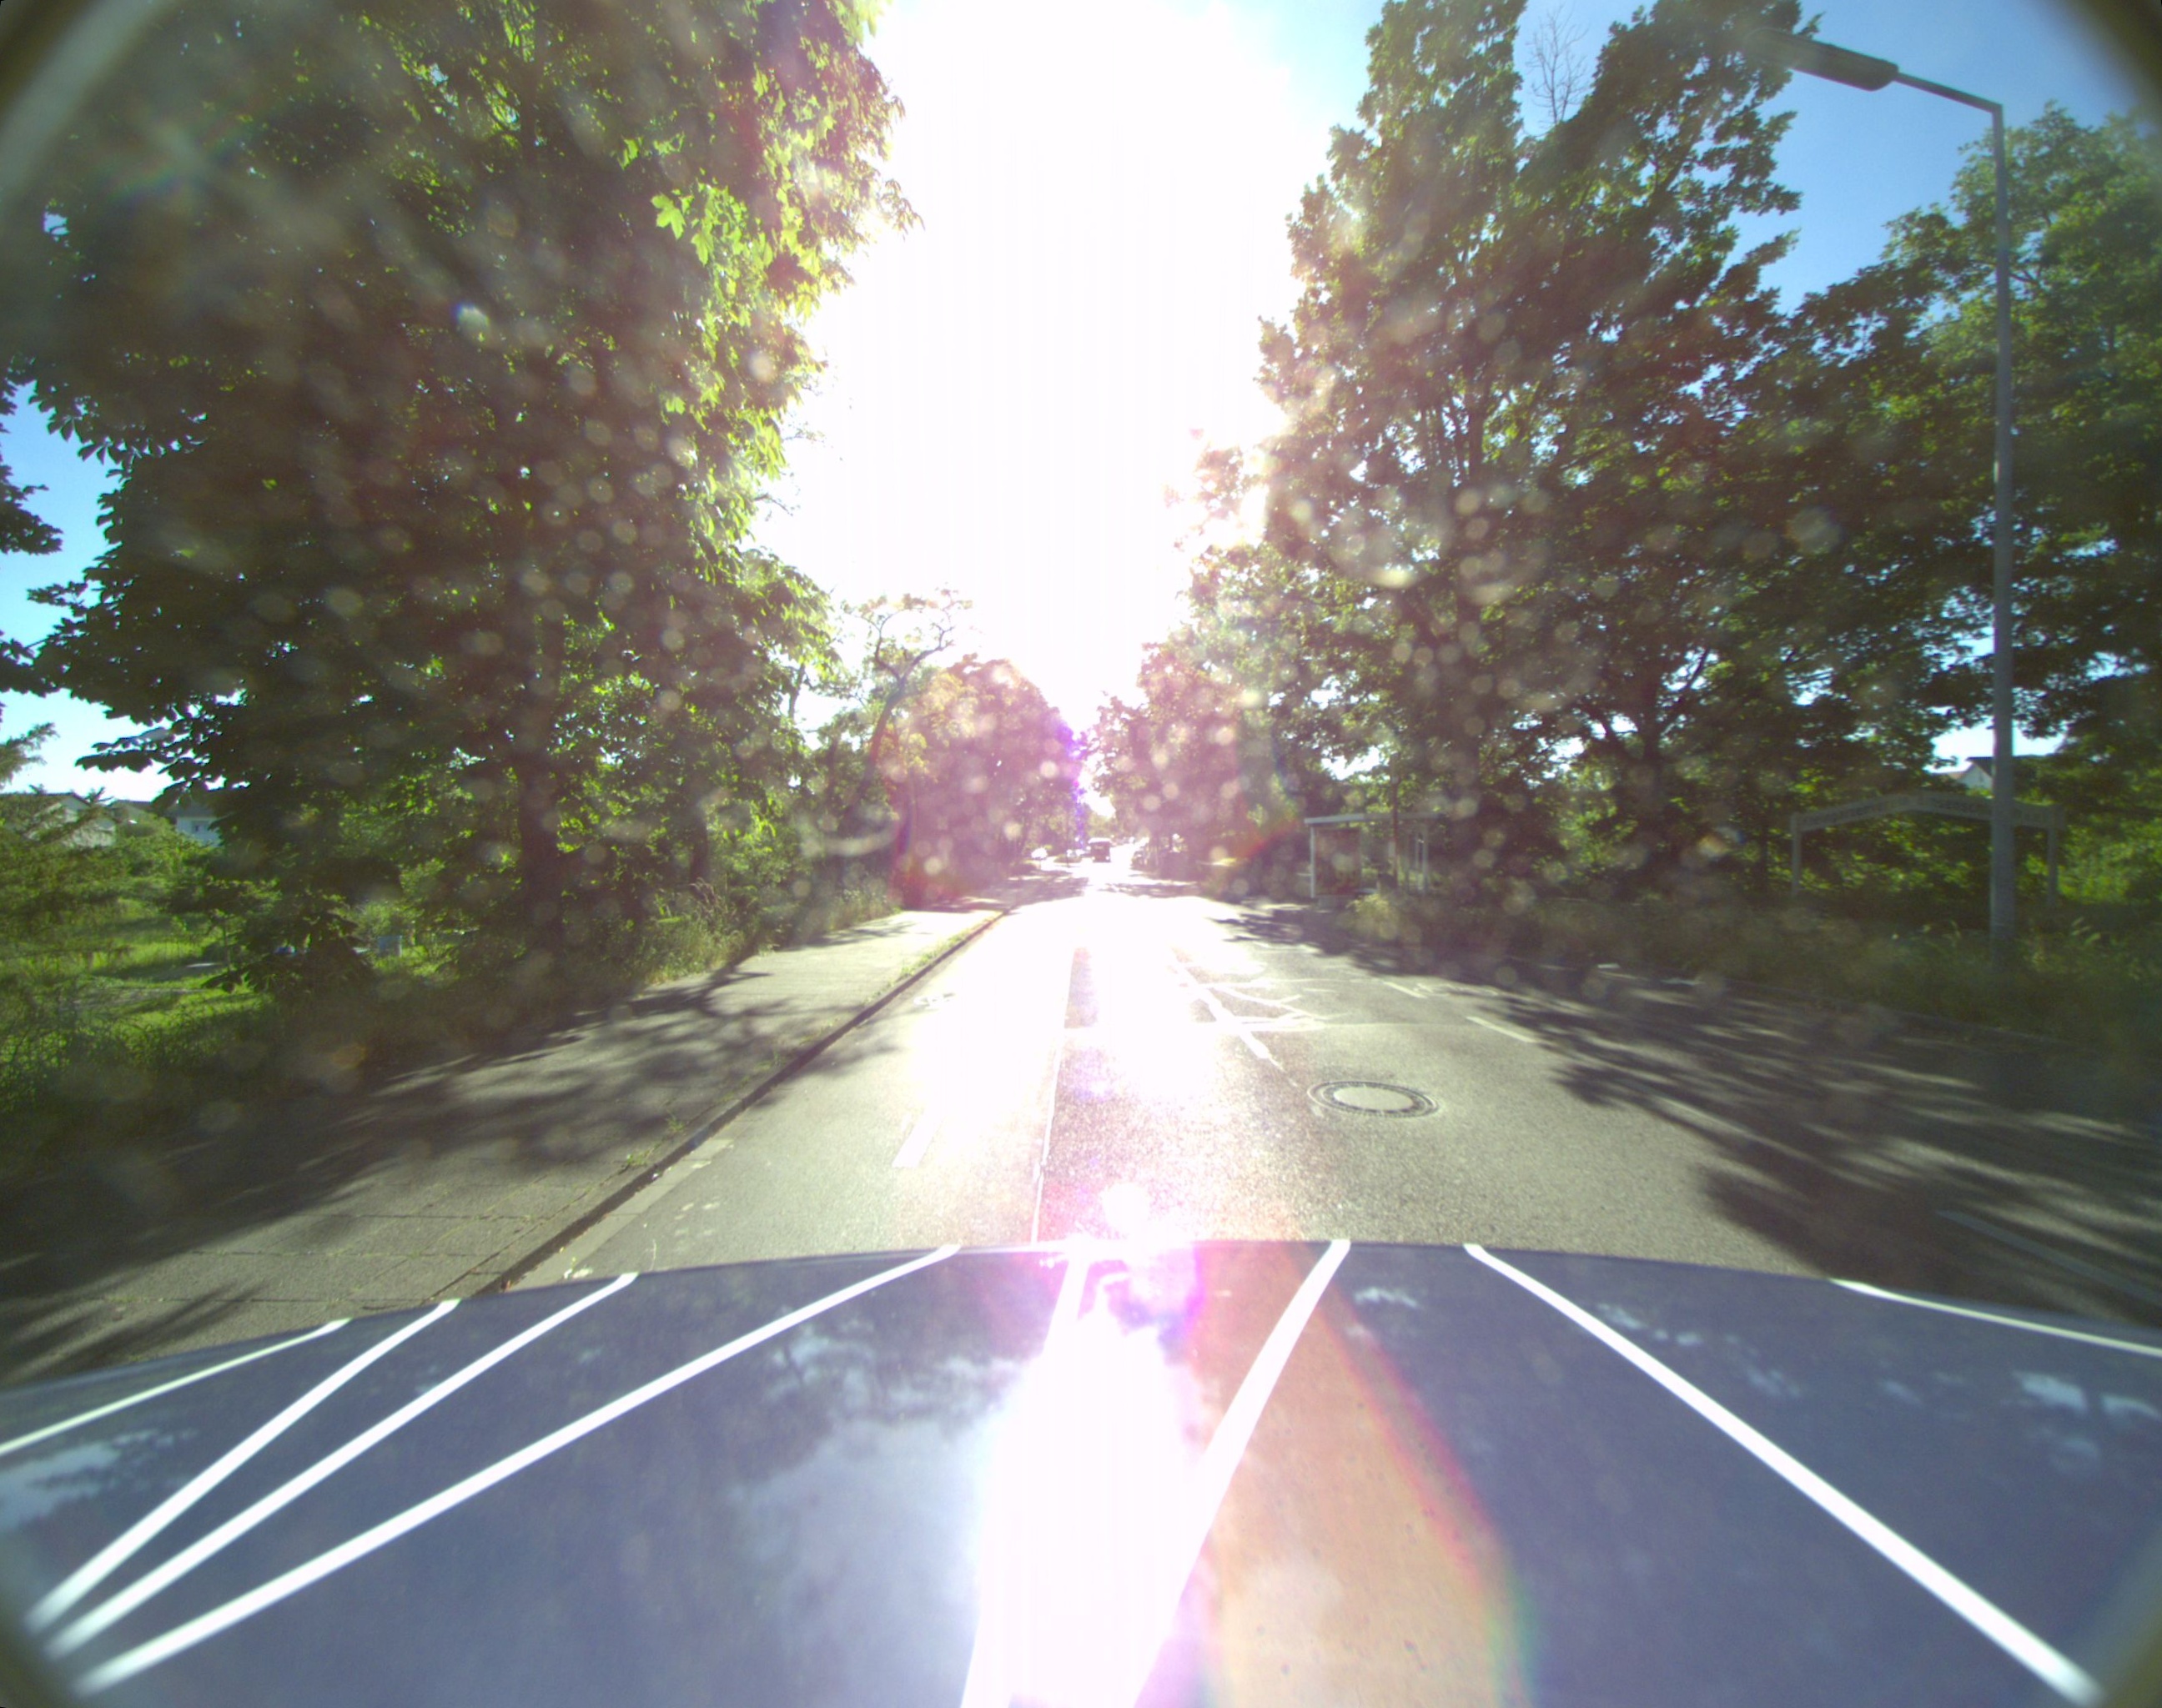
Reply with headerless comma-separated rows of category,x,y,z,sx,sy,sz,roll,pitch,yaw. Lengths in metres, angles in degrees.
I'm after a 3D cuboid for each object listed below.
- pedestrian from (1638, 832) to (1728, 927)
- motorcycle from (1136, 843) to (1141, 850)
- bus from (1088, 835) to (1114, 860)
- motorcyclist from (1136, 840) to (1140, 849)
pedestrian,11.182,0.458,14.144,0.915,1.678,0.891,-2,0,2
motorcycle,13.260,-1.716,175.691,0.815,1.624,2.411,-3,1,-2
bus,2.584,-0.825,102.216,2.790,2.965,12.893,-2,0,-1
motorcyclist,13.225,-2.175,175.779,0.640,2.002,0.739,-3,2,-2
